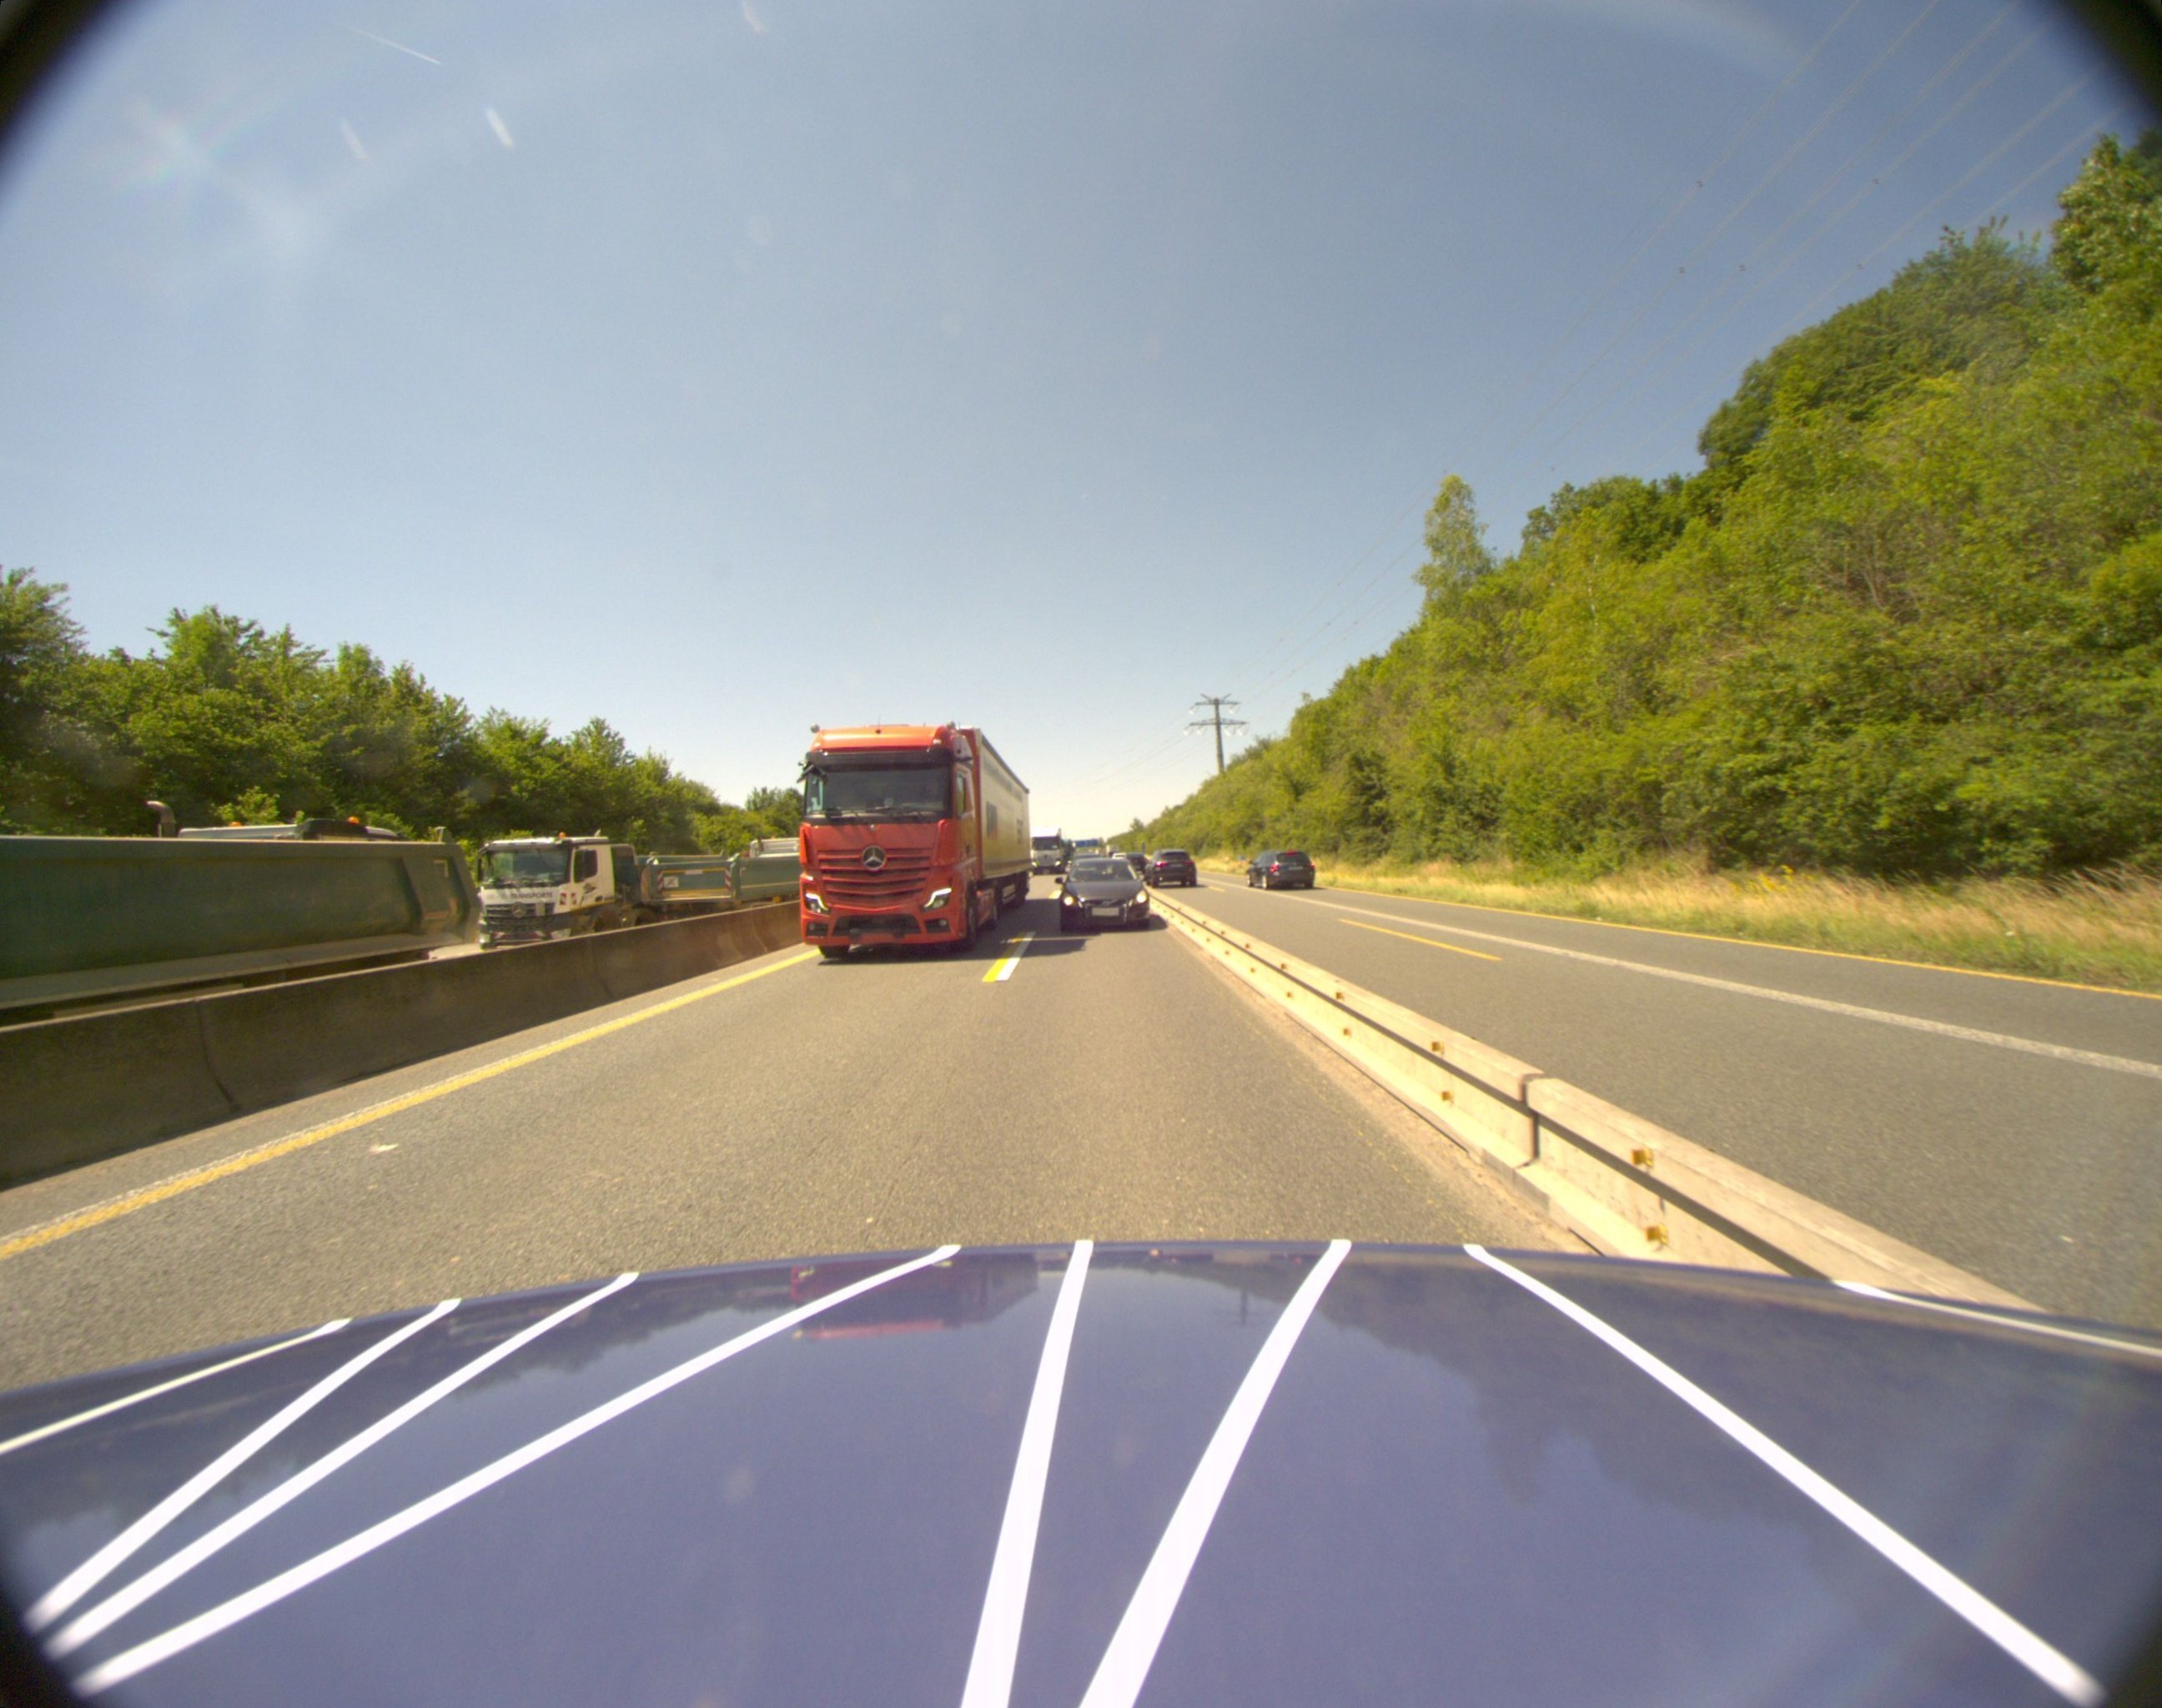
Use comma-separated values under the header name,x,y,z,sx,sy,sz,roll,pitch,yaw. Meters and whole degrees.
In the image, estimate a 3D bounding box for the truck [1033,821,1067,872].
name,x,y,z,sx,sy,sz,roll,pitch,yaw
truck,-2.635,-0.622,68.531,2.481,4.030,13.109,-2,0,-1

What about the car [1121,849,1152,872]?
name,x,y,z,sx,sy,sz,roll,pitch,yaw
car,4.036,0.460,56.179,1.848,1.524,4.671,-4,0,0

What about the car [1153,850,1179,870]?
name,x,y,z,sx,sy,sz,roll,pitch,yaw
car,7.113,0.499,63.882,1.704,1.556,3.994,-3,0,0

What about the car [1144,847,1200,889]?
name,x,y,z,sx,sy,sz,roll,pitch,yaw
car,3.946,0.576,33.771,1.848,1.601,4.699,-4,0,0

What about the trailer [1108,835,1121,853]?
name,x,y,z,sx,sy,sz,roll,pitch,yaw
trailer,8.770,-2.608,200.011,2.644,4.287,8.447,-3,0,0

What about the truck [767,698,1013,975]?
name,x,y,z,sx,sy,sz,roll,pitch,yaw
truck,-3.136,-0.287,14.635,2.689,3.987,6.725,-3,1,1

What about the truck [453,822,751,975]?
name,x,y,z,sx,sy,sz,roll,pitch,yaw
truck,-13.500,1.052,22.905,2.694,3.536,9.601,-2,0,0

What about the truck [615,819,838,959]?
name,x,y,z,sx,sy,sz,roll,pitch,yaw
truck,-10.698,0.886,24.463,2.545,3.536,9.601,-2,0,0

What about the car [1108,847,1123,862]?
name,x,y,z,sx,sy,sz,roll,pitch,yaw
car,4.946,0.095,108.282,1.895,2.002,4.817,-3,0,1

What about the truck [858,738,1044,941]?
name,x,y,z,sx,sy,sz,roll,pitch,yaw
truck,-2.953,-0.370,21.970,2.689,3.987,13.217,-3,1,1

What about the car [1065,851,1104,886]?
name,x,y,z,sx,sy,sz,roll,pitch,yaw
car,0.204,0.666,38.169,1.767,1.523,4.698,-3,1,1

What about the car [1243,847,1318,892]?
name,x,y,z,sx,sy,sz,roll,pitch,yaw
car,7.443,0.528,28.685,1.727,1.513,4.184,-2,0,1

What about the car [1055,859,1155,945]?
name,x,y,z,sx,sy,sz,roll,pitch,yaw
car,0.454,0.888,16.114,1.767,1.411,4.698,-2,1,1

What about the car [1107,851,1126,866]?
name,x,y,z,sx,sy,sz,roll,pitch,yaw
car,3.815,0.443,82.553,1.848,1.524,4.671,-4,0,0

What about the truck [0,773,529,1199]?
name,x,y,z,sx,sy,sz,roll,pitch,yaw
truck,-10.350,1.137,7.448,2.694,3.536,9.601,-2,0,0

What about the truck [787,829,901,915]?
name,x,y,z,sx,sy,sz,roll,pitch,yaw
truck,-11.059,0.740,36.516,2.539,3.490,8.943,-2,0,0

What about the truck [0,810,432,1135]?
name,x,y,z,sx,sy,sz,roll,pitch,yaw
truck,-13.129,1.337,8.875,2.694,3.536,9.601,-2,0,0

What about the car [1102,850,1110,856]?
name,x,y,z,sx,sy,sz,roll,pitch,yaw
car,5.943,-0.194,183.066,1.717,1.417,4.169,-3,1,-1
